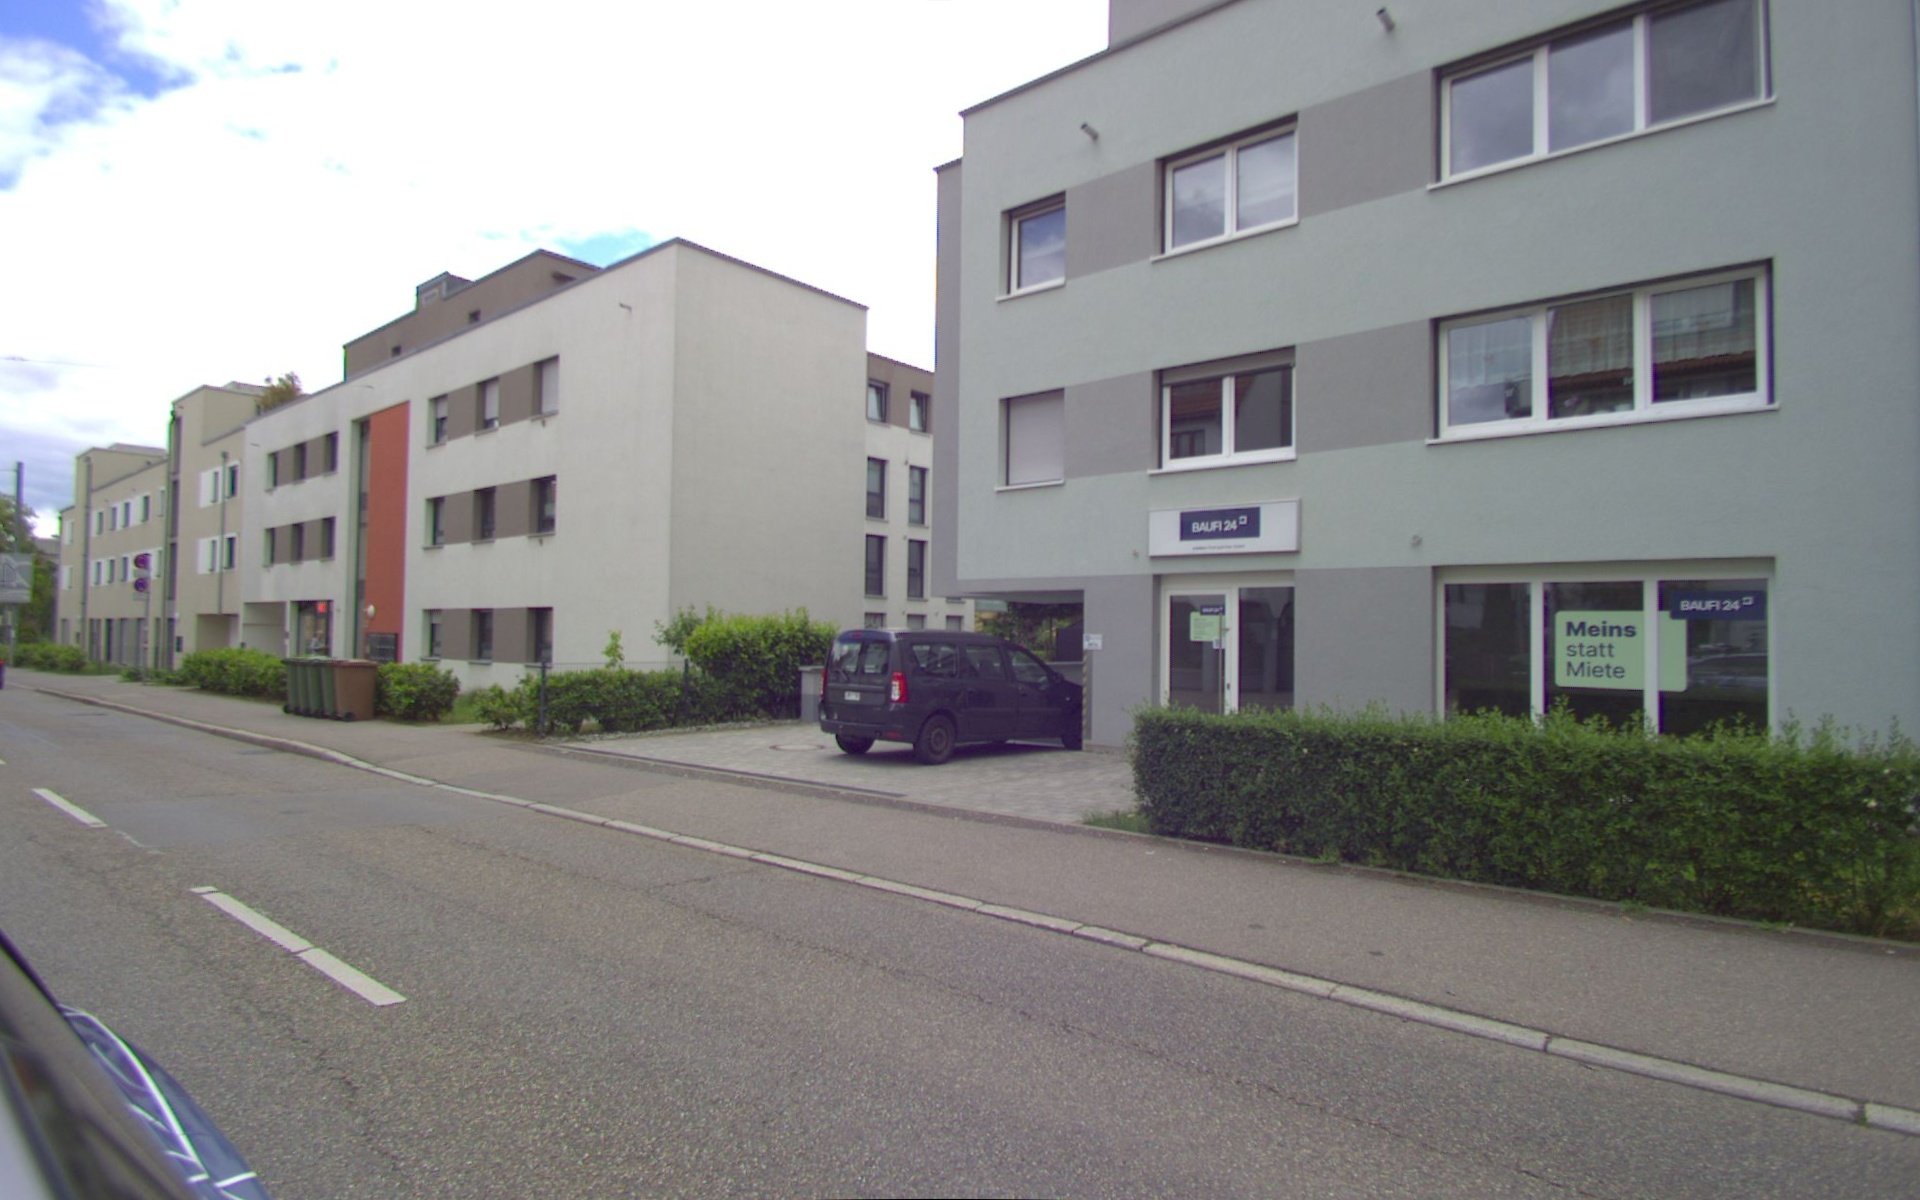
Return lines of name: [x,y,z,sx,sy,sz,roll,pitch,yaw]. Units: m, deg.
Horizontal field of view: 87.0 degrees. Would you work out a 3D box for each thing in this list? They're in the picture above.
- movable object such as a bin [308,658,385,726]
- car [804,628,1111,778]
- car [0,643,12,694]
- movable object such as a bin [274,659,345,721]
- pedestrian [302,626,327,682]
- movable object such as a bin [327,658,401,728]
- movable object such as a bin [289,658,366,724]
movable object such as a bin: [-10.953,1.621,18.075,0.748,1.160,0.940,-2,-3,36]
car: [0.107,1.255,13.515,1.725,1.680,4.116,-1,-3,44]
car: [-29.607,1.963,29.856,4.211,1.462,1.859,-2,-6,40]
movable object such as a bin: [-12.306,1.685,19.146,0.791,1.097,0.886,-2,-3,36]
pedestrian: [-19.315,1.622,30.302,0.511,1.655,0.642,1,-3,-24]
movable object such as a bin: [-10.388,1.598,17.652,0.611,1.160,0.932,-2,-3,36]
movable object such as a bin: [-11.625,1.652,18.613,0.839,1.160,0.947,-2,-3,36]
